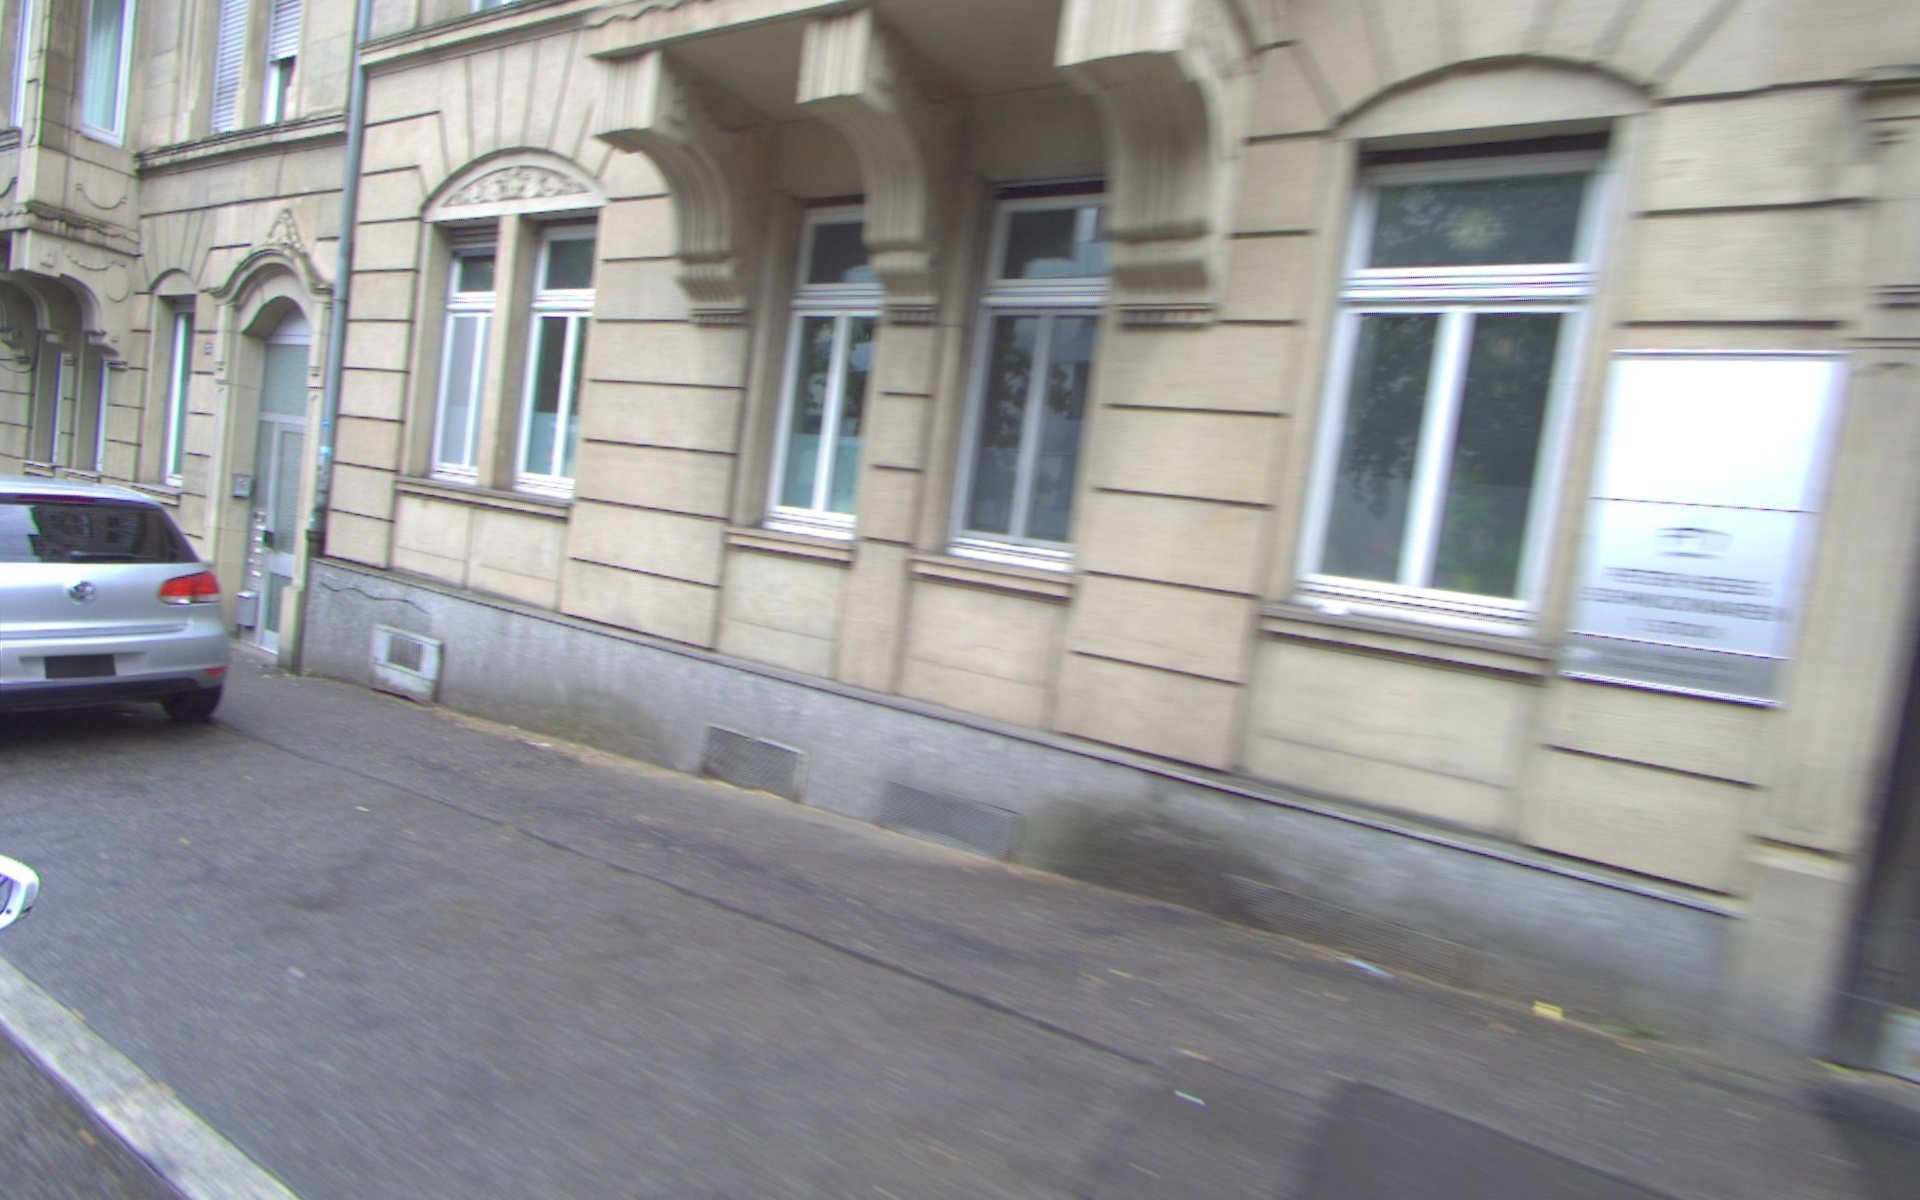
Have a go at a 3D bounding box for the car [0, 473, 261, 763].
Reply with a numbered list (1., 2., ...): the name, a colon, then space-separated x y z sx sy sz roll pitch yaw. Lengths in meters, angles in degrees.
1. car: -6.419 -0.082 6.467 3.934 1.472 1.758 7 5 32
